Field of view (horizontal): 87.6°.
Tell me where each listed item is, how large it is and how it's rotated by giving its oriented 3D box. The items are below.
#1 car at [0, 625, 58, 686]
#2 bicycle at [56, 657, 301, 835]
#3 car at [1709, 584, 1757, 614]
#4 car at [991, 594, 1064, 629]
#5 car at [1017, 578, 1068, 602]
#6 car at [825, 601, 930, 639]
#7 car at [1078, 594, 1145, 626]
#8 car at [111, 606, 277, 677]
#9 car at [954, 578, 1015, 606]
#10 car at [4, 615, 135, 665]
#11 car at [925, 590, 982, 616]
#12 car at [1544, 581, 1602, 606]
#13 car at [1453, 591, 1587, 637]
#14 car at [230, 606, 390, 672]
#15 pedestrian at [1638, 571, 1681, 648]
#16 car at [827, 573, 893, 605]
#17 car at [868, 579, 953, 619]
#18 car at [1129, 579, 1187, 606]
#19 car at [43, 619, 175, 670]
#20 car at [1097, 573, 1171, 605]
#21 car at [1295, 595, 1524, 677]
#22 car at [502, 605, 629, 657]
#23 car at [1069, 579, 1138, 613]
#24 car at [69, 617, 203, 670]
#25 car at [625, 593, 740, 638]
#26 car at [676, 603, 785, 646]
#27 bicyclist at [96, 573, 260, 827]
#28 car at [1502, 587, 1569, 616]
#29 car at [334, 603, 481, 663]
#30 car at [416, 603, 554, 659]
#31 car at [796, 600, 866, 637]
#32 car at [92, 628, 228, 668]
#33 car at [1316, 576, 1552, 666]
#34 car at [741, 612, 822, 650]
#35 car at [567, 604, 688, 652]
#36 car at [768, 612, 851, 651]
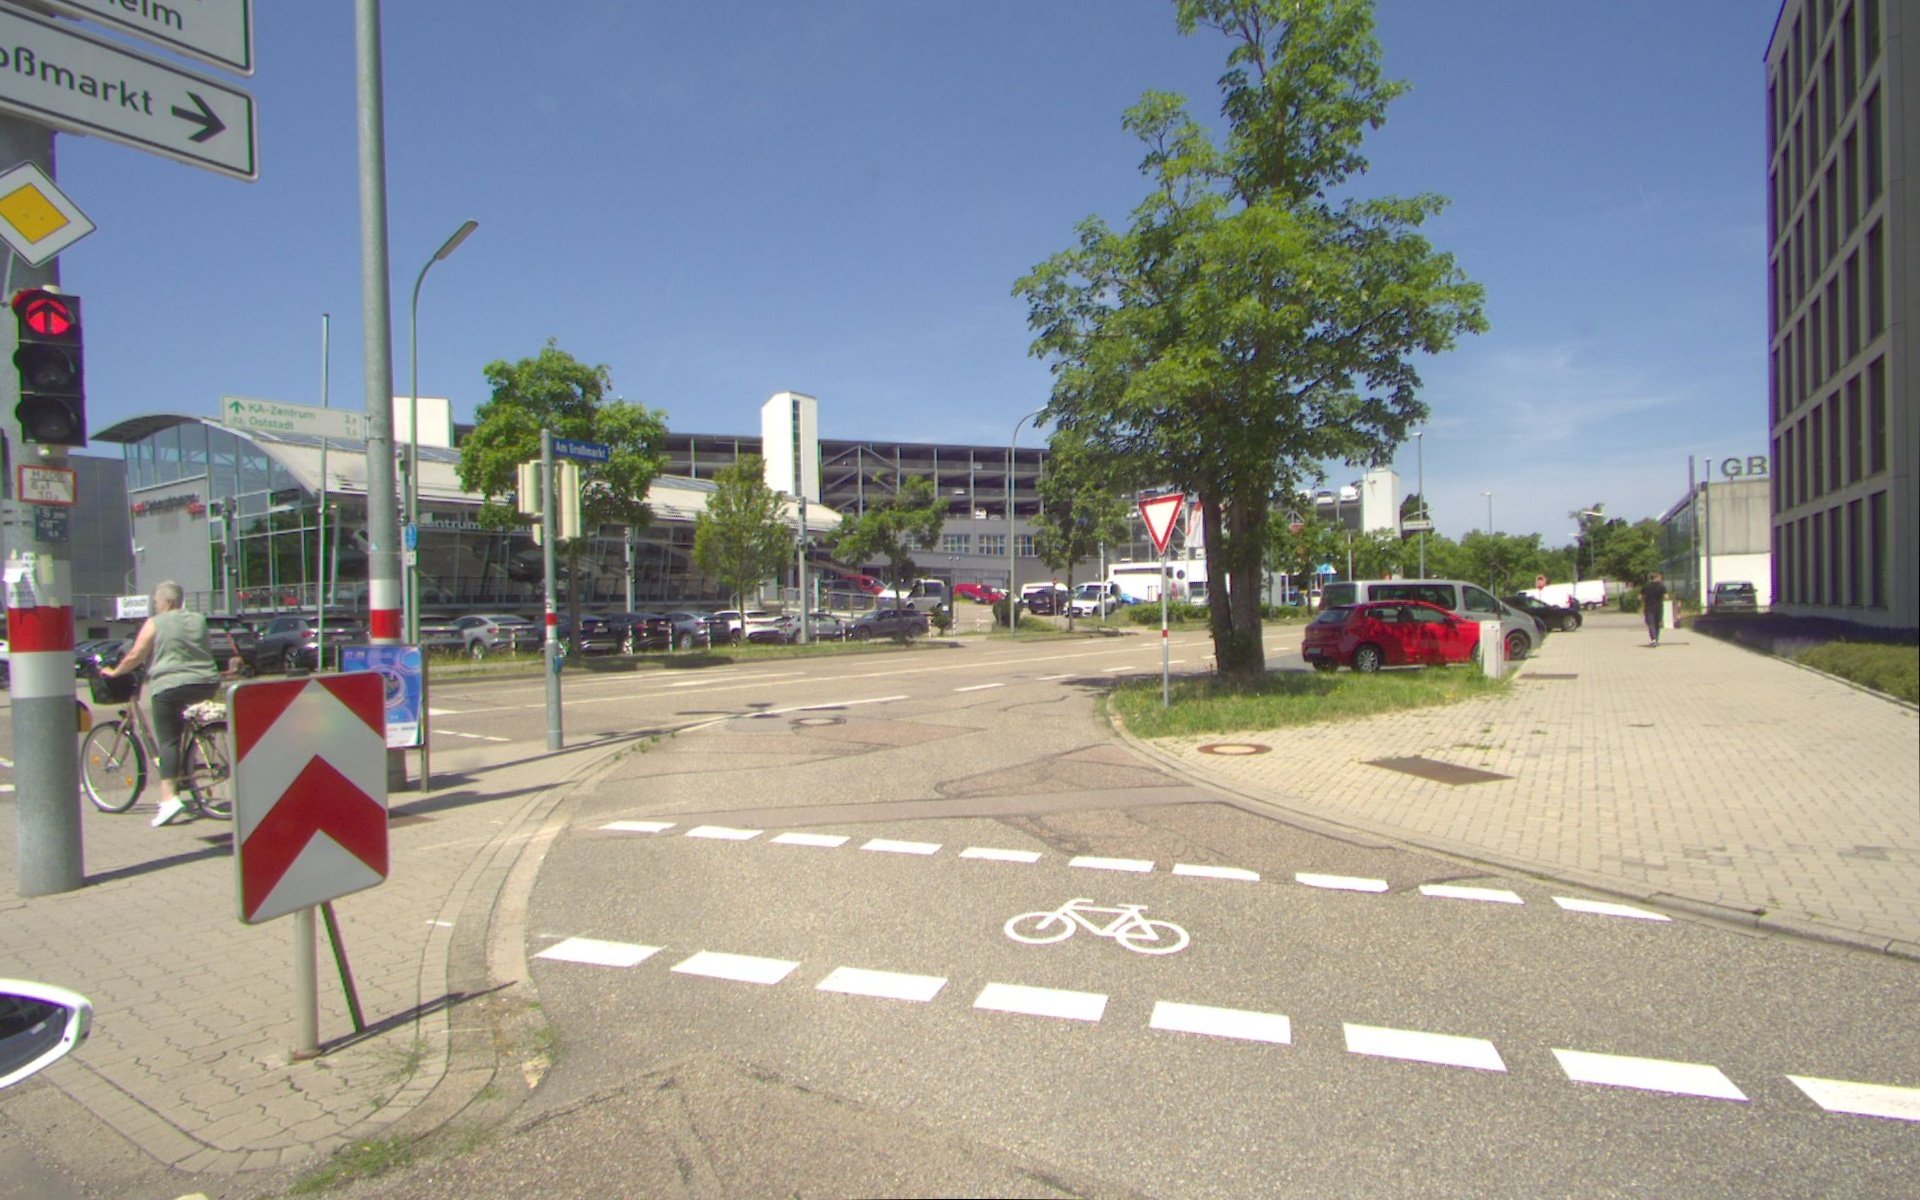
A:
[{"bbox_3d":[-25.108,1.388,24.105,1.973,1.476,4.729,0,0,34],"label":"car"},{"bbox_3d":[-5.926,1.032,7.575,1.891,1.142,0.786,0,0,29],"label":"bicycle"},{"bbox_3d":[42.076,-0.043,54.549,1.765,1.542,3.556,-2,0,33],"label":"car"},{"bbox_3d":[4.099,0.684,60.784,3.943,2.040,1.989,-1,0,32],"label":"car"},{"bbox_3d":[7.555,-0.914,91.991,4.257,2.040,1.989,-1,0,32],"label":"car"},{"bbox_3d":[-3.901,0.937,47.638,4.702,1.662,1.821,-1,1,-35],"label":"car"},{"bbox_3d":[10.138,0.670,66.903,3.943,2.040,1.989,-1,0,32],"label":"car"},{"bbox_3d":[-19.418,0.994,25.355,4.207,1.661,1.989,-1,0,32],"label":"car"},{"bbox_3d":[1.898,-0.590,77.770,4.286,2.040,1.990,-1,0,30],"label":"car"},{"bbox_3d":[-39.626,1.756,44.653,1.972,2.040,3.977,-1,0,33],"label":"car"},{"bbox_3d":[-0.505,0.214,74.355,3.943,1.810,1.730,-1,0,32],"label":"car"},{"bbox_3d":[55.226,-0.542,90.181,4.304,2.149,2.080,-1,0,36],"label":"car"},{"bbox_3d":[21.578,0.552,38.721,4.075,1.558,1.815,-3,-1,2],"label":"car"},{"bbox_3d":[-17.912,1.031,27.542,4.492,1.661,1.989,-1,0,32],"label":"car"},{"bbox_3d":[17.387,0.239,24.881,0.764,1.869,0.861,-2,0,40],"label":"pedestrian"},{"bbox_3d":[-6.716,-0.701,67.365,3.937,2.040,1.992,-1,0,27],"label":"car"},{"bbox_3d":[-2.581,-0.052,54.003,1.972,2.040,5.117,-1,0,32],"label":"car"},{"bbox_3d":[15.483,-0.562,78.292,3.945,2.040,1.988,-1,0,34],"label":"car"},{"bbox_3d":[-37.282,1.902,43.957,1.972,2.040,3.977,-1,0,33],"label":"car"},{"bbox_3d":[11.969,-0.756,68.852,4.578,2.040,1.989,-1,0,32],"label":"car"},{"bbox_3d":[8.976,0.700,20.114,3.924,1.454,1.609,-2,0,-8],"label":"car"},{"bbox_3d":[-13.586,1.045,34.427,4.410,1.662,1.823,-1,1,32],"label":"car"},{"bbox_3d":[9.137,-0.236,63.977,3.943,2.040,1.840,-1,0,32],"label":"car"},{"bbox_3d":[-34.906,1.812,42.523,1.972,2.040,3.977,-1,0,33],"label":"car"},{"bbox_3d":[-10.851,0.601,39.049,4.410,1.662,1.823,-1,1,32],"label":"car"},{"bbox_3d":[-9.493,0.996,41.372,4.410,1.662,1.823,-1,1,32],"label":"car"},{"bbox_3d":[-5.843,0.710,7.497,0.742,1.772,0.733,0,0,28],"label":"bicyclist"},{"bbox_3d":[41.672,0.130,72.532,3.949,2.040,1.986,-1,0,37],"label":"car"},{"bbox_3d":[-16.631,0.958,30.106,4.377,1.661,1.989,-1,1,32],"label":"car"},{"bbox_3d":[-15.246,0.956,32.079,4.460,1.662,1.881,-1,1,32],"label":"car"},{"bbox_3d":[-7.455,1.053,58.066,1.839,2.040,3.733,-1,0,41],"label":"car"},{"bbox_3d":[-32.931,1.923,41.326,1.694,1.480,4.083,0,0,33],"label":"car"},{"bbox_3d":[10.918,0.457,23.172,4.814,1.840,1.704,-2,0,-10],"label":"car"},{"bbox_3d":[-9.170,1.568,51.371,3.712,1.795,1.761,-1,0,-28],"label":"car"},{"bbox_3d":[-12.245,0.993,36.788,4.410,1.662,1.823,-1,1,32],"label":"car"},{"bbox_3d":[-7.413,1.513,49.283,3.659,1.801,1.739,-1,0,-31],"label":"car"}]
